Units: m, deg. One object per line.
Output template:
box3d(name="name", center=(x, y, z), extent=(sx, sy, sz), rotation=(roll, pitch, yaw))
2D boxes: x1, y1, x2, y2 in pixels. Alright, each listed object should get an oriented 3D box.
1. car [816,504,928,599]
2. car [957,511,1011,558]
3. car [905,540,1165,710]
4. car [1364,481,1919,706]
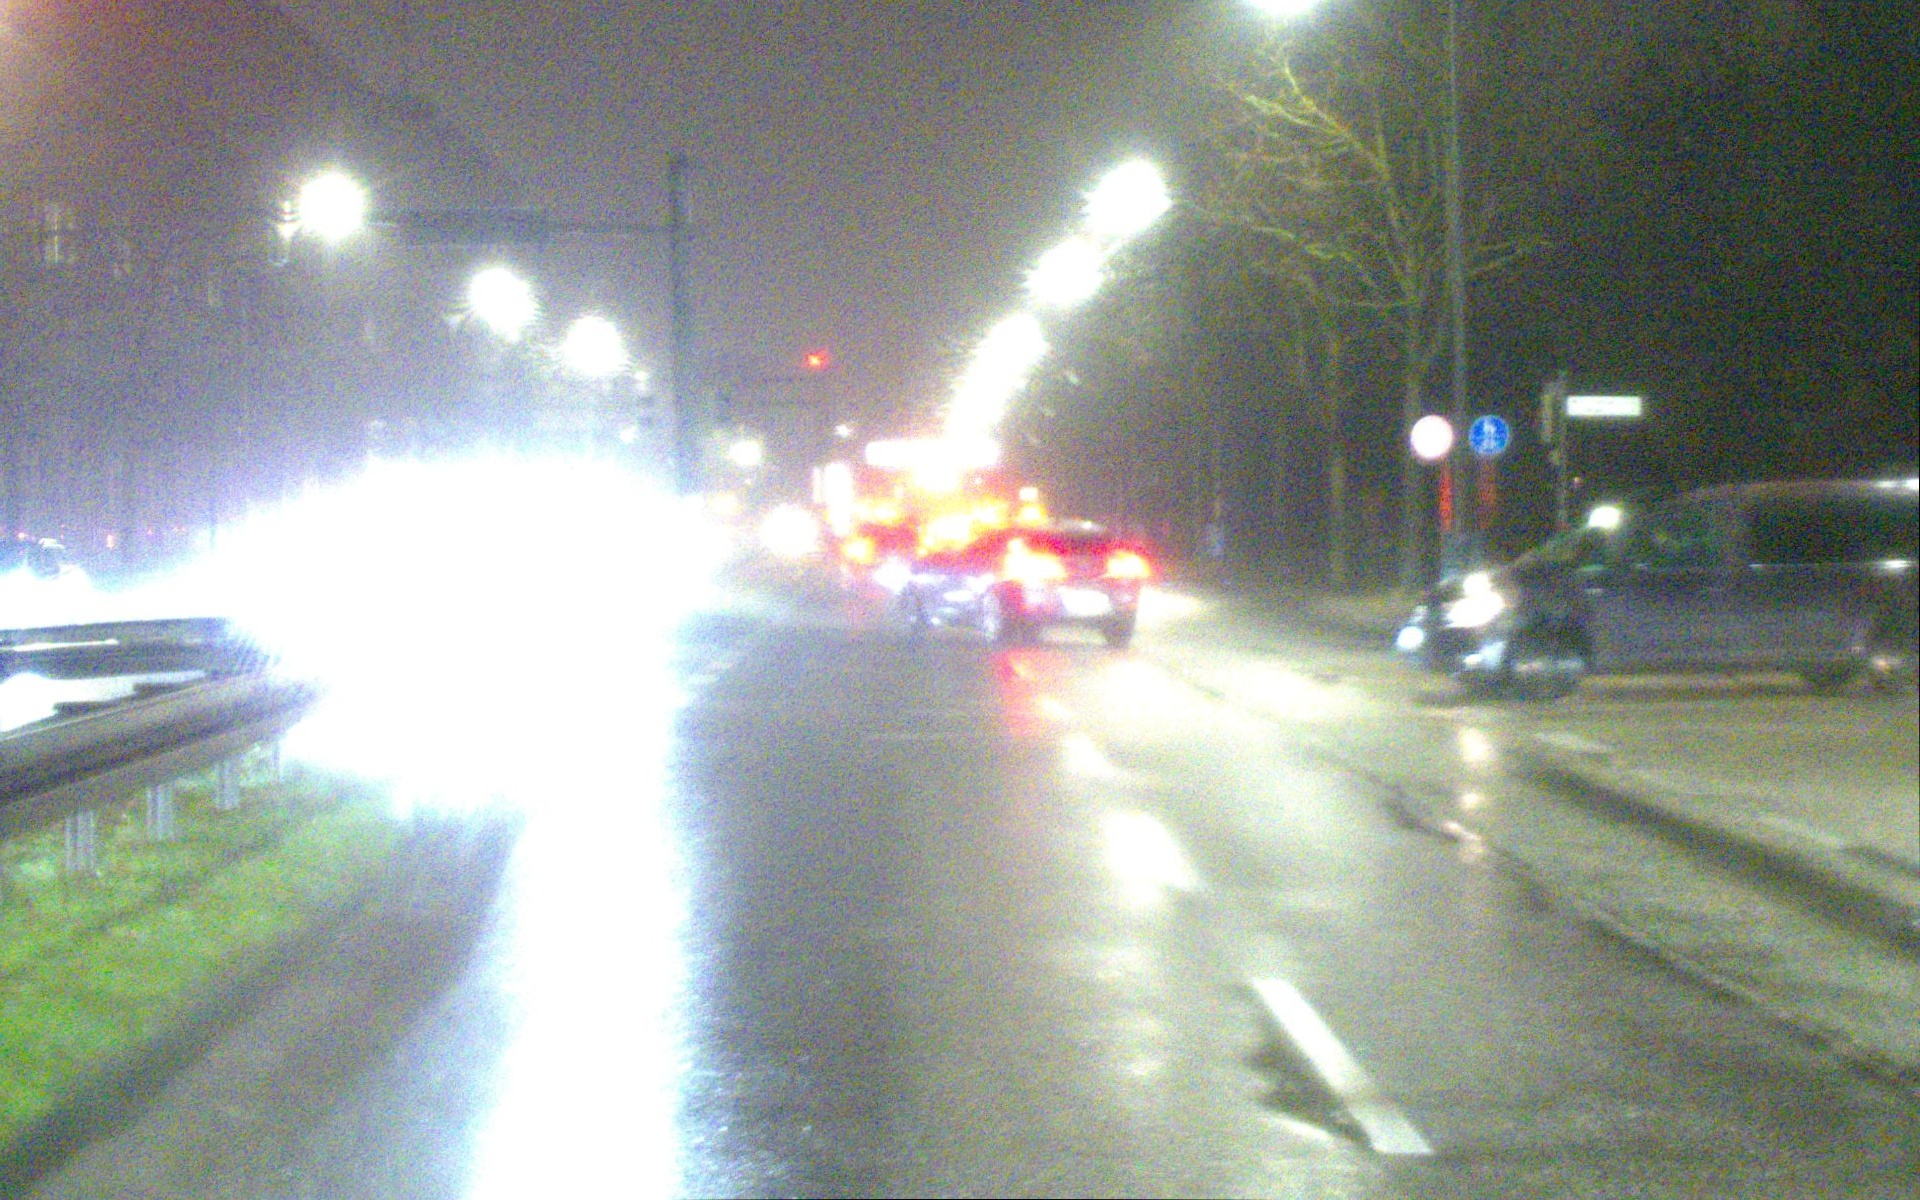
box3d(name="car", center=(-1.619, -0.902, 64.527), extent=(1.993, 1.700, 4.633), rotation=(1, 1, -1))
box3d(name="car", center=(0.917, -2.517, 132.611), extent=(1.993, 1.753, 4.000), rotation=(1, 1, -1))
box3d(name="car", center=(0.867, 0.271, 43.178), extent=(1.993, 2.007, 4.634), rotation=(1, 1, -16))
box3d(name="car", center=(5.975, -0.049, 28.300), extent=(4.901, 1.735, 1.972), rotation=(1, 0, -8))
